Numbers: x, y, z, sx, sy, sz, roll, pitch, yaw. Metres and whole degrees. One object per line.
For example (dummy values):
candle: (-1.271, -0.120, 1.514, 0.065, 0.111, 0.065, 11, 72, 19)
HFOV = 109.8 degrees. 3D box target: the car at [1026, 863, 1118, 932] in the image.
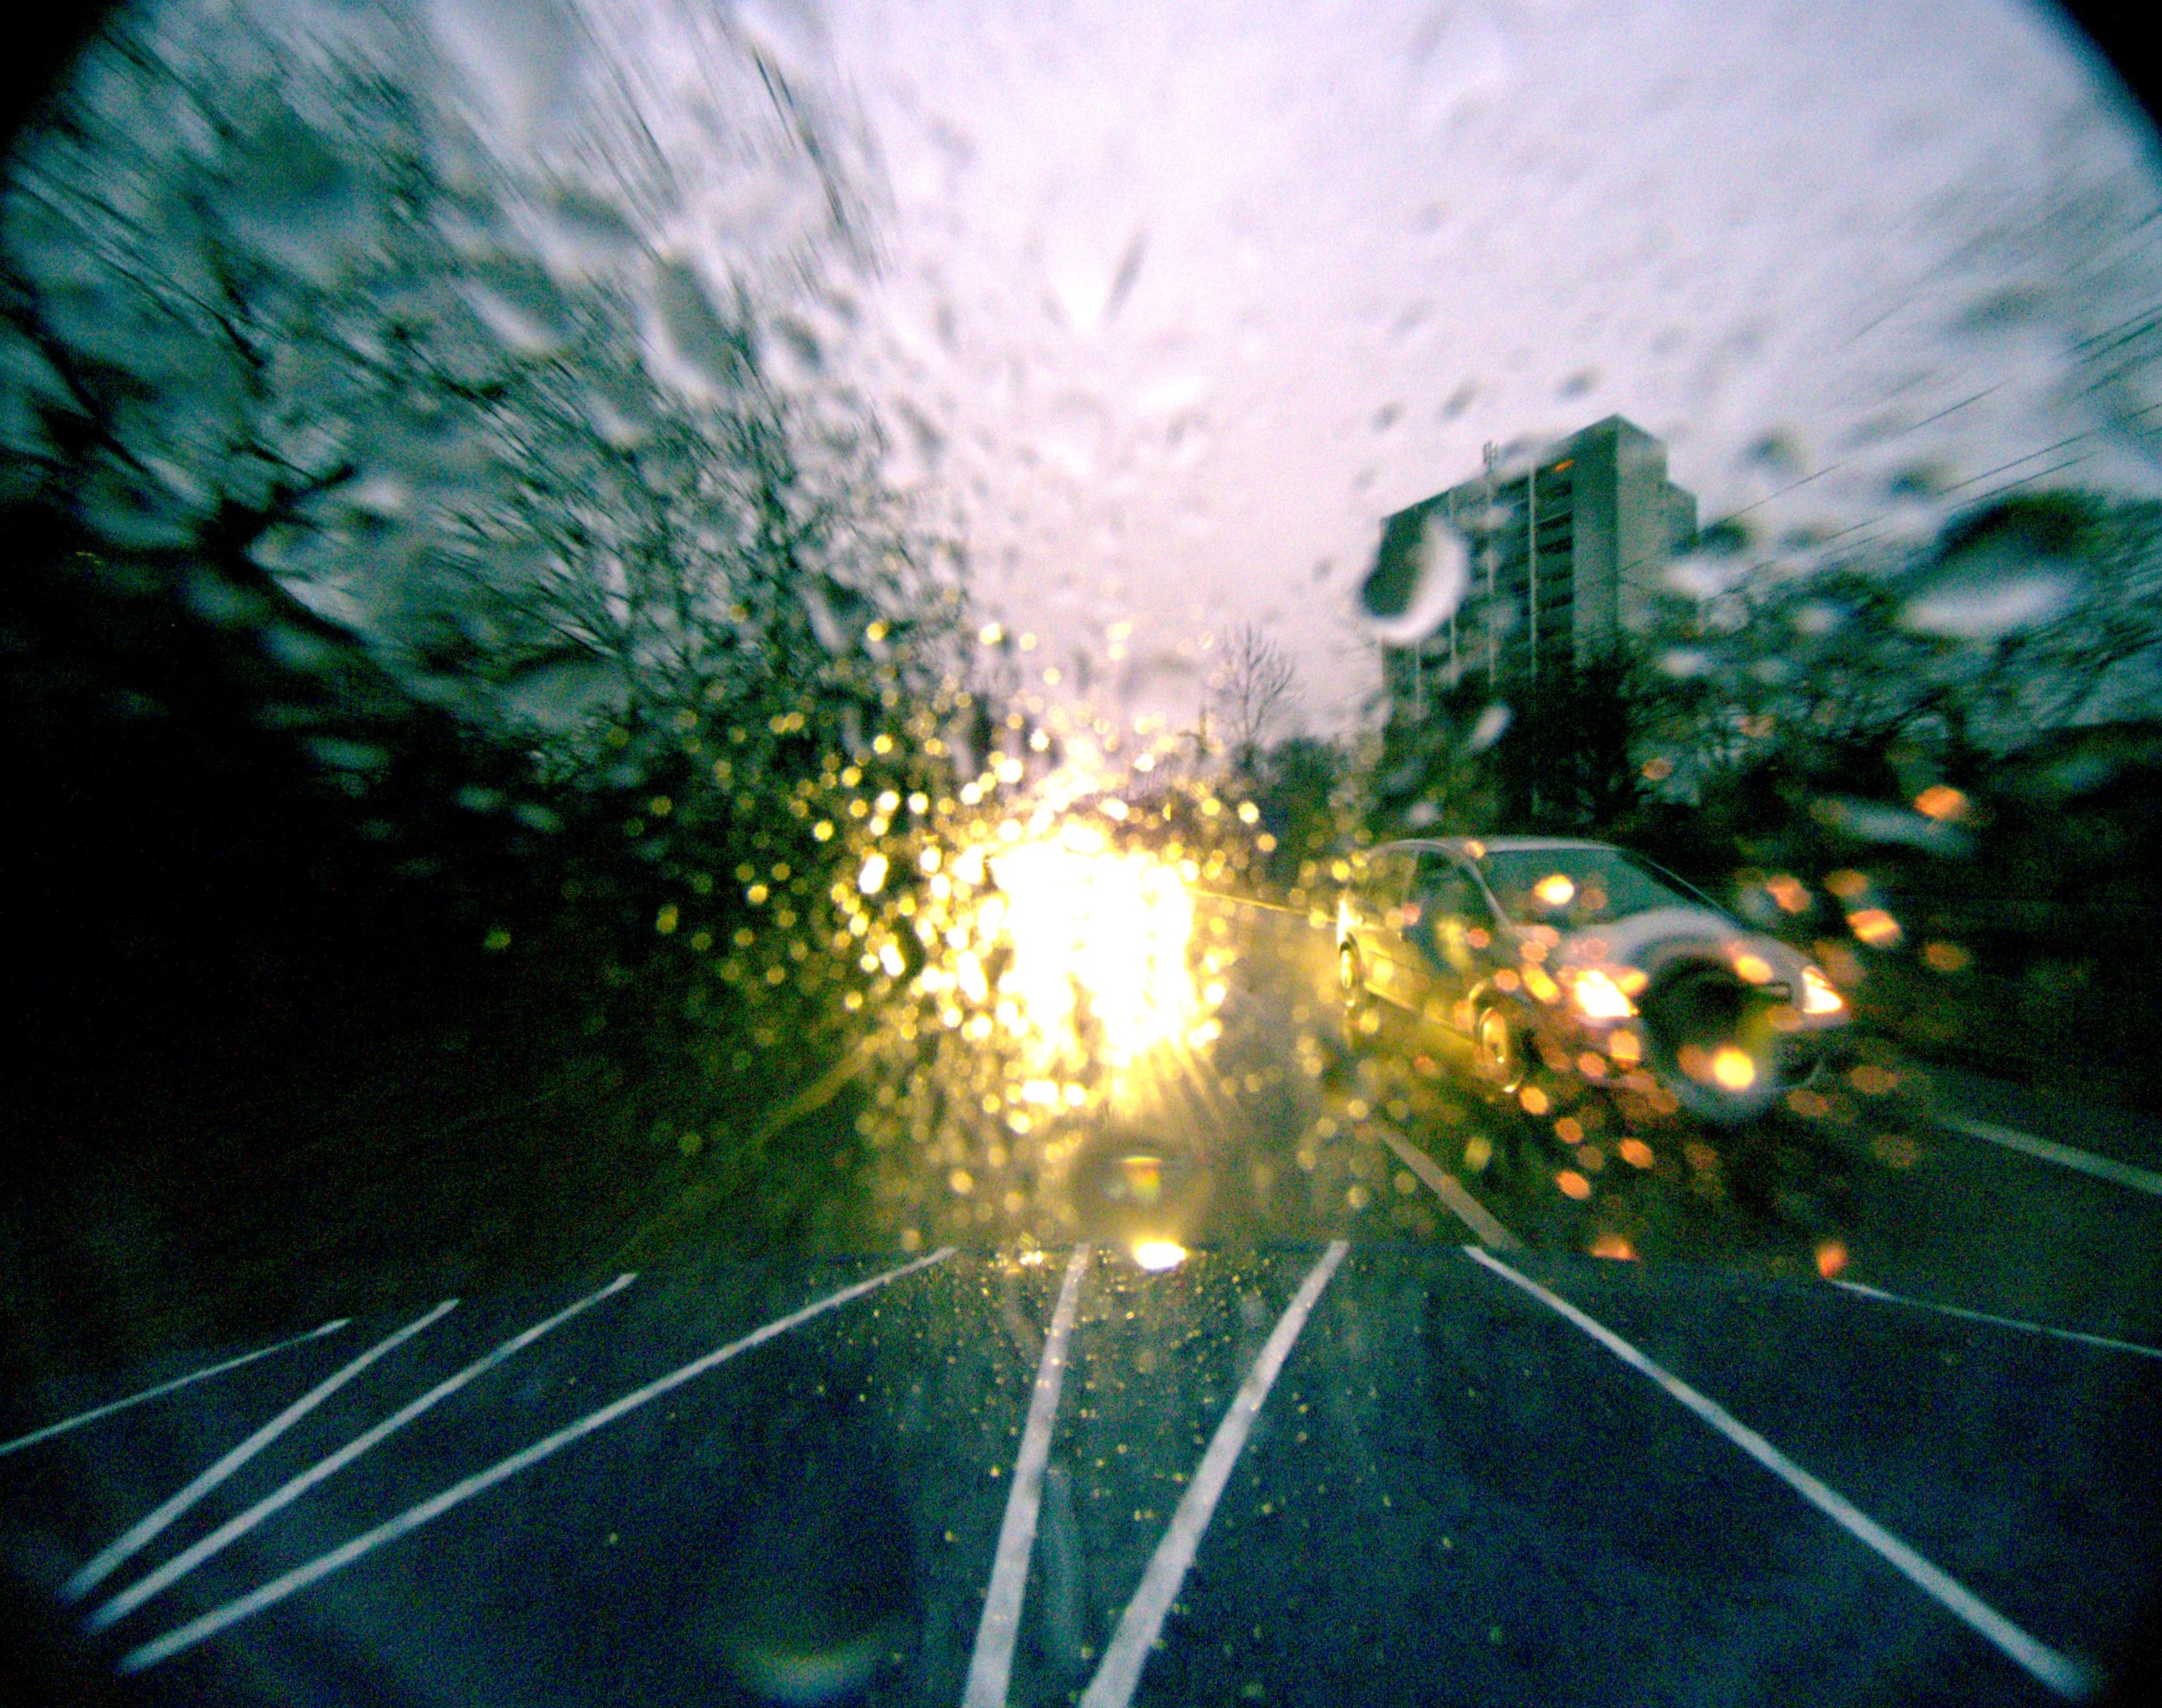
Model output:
car: (-0.258, 0.940, 18.042, 1.897, 1.347, 4.288, -1, 0, -2)

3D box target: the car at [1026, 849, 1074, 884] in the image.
car: (-1.603, 0.569, 37.800, 1.950, 1.546, 4.214, -3, 1, -7)

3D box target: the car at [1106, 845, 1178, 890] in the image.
car: (2.258, 0.470, 29.355, 1.925, 1.546, 4.214, -3, 1, -7)

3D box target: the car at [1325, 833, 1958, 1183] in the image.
car: (3.266, 0.706, 5.522, 1.669, 1.566, 3.922, -3, 1, 0)

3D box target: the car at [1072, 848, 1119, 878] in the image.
car: (0.773, 0.484, 43.601, 1.846, 1.546, 4.213, -3, 1, -11)

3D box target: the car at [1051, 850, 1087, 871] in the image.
car: (-0.982, 0.481, 59.700, 1.951, 1.546, 4.212, -3, 1, -12)

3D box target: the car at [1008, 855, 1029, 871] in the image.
car: (-6.725, 0.958, 81.592, 1.951, 1.546, 4.213, -3, 1, -9)
